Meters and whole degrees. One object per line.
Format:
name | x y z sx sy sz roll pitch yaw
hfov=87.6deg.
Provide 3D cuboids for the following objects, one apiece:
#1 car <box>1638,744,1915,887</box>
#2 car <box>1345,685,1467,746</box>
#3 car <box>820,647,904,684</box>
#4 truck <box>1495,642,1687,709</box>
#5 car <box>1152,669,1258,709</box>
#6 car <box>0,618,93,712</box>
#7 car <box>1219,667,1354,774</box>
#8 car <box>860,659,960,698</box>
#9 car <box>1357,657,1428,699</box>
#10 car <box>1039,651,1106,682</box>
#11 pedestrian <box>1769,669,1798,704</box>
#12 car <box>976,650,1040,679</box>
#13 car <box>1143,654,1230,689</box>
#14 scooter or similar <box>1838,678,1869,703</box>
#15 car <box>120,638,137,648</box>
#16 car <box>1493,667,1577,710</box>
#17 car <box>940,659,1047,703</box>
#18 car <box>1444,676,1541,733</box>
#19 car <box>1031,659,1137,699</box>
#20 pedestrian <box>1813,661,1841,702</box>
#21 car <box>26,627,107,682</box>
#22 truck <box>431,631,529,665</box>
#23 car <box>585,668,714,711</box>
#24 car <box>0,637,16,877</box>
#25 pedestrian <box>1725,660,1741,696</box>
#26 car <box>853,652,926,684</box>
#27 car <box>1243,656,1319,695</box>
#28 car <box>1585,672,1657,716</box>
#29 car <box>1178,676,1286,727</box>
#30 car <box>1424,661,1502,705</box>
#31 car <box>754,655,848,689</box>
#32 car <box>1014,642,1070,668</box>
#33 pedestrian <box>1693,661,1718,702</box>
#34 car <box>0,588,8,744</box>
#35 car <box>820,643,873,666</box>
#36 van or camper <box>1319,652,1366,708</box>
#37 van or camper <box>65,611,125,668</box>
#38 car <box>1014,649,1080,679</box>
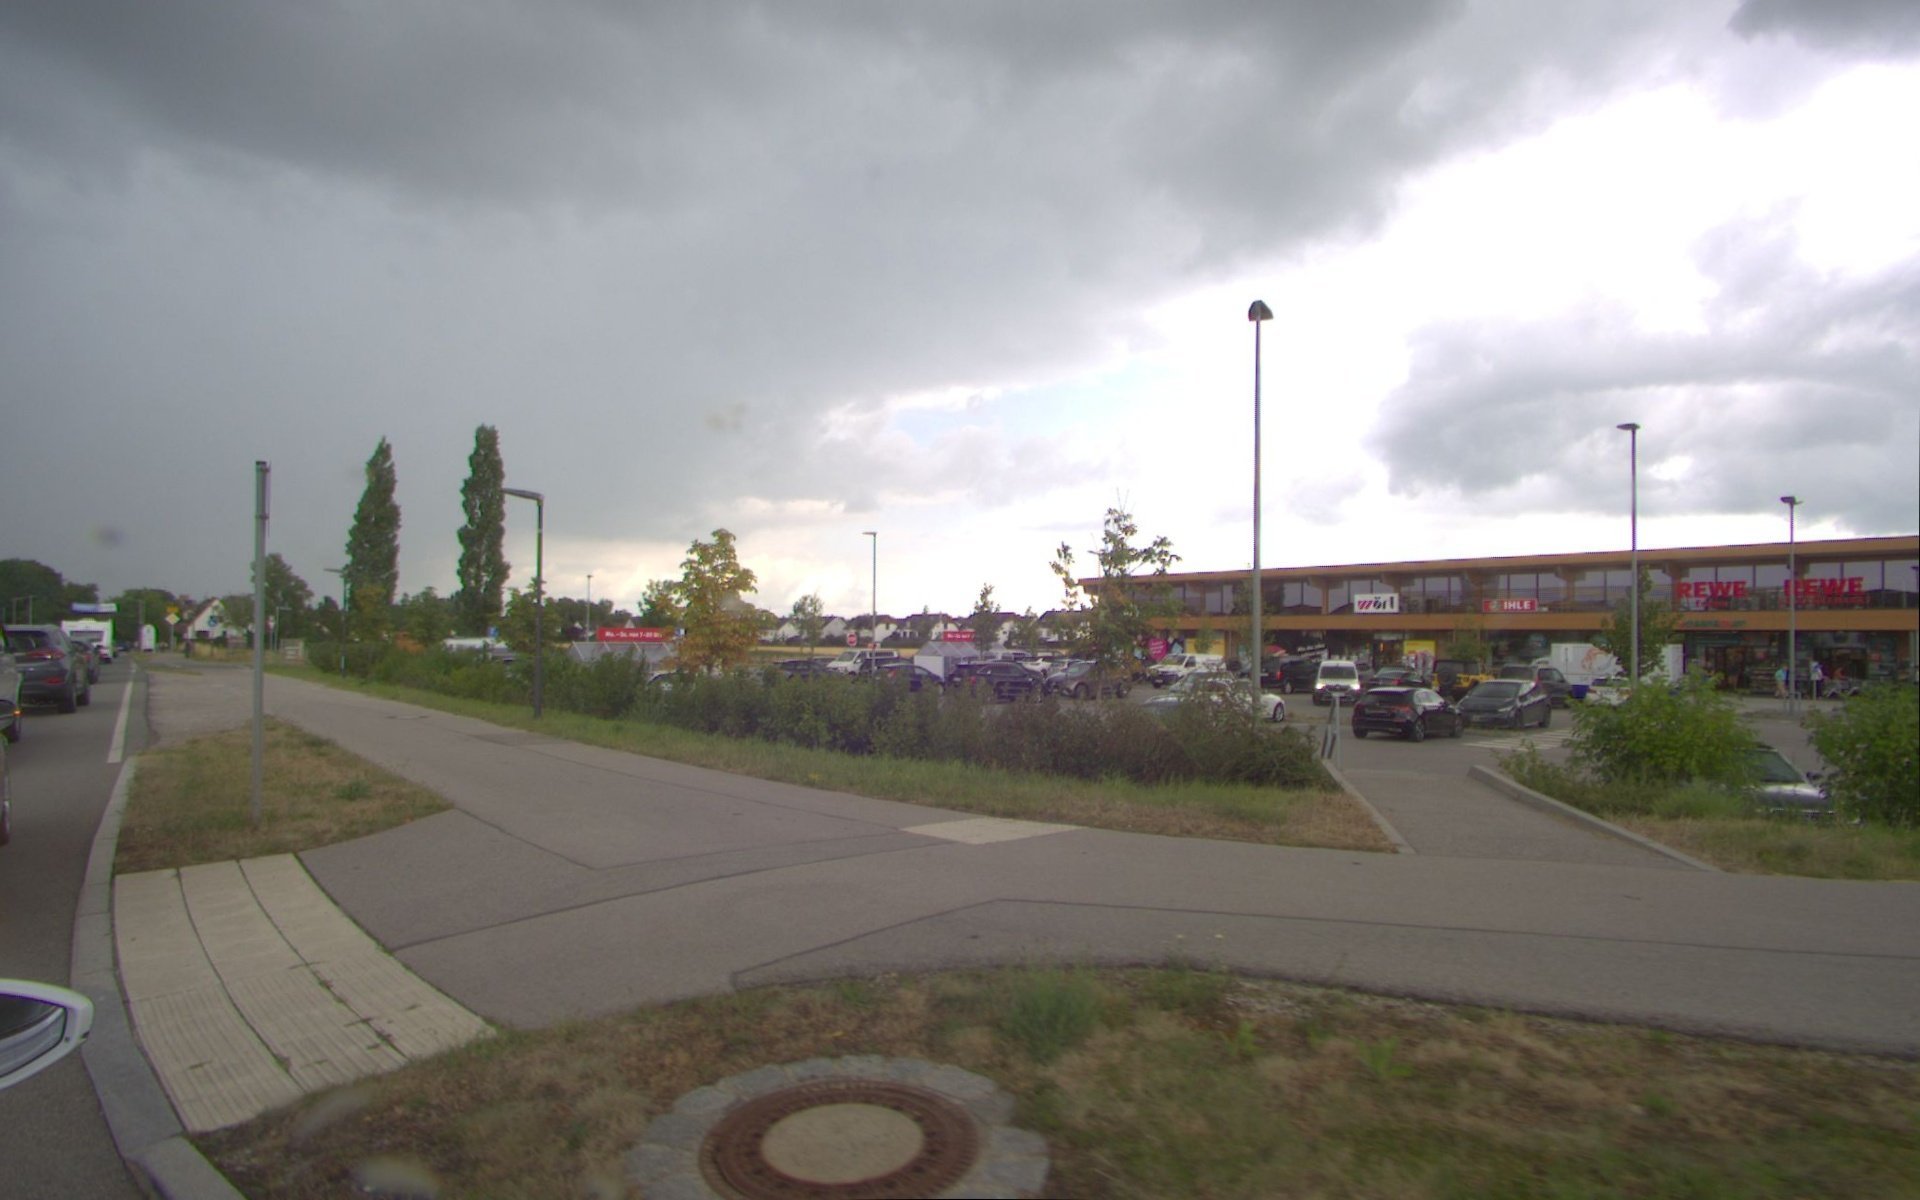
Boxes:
car | 11.404 2.939 14.324 1.551 1.389 3.733 0 -3 13
car | 12.514 3.161 27.997 3.963 1.415 1.818 3 -3 -45
car | -5.773 3.853 59.675 1.976 2.039 5.088 0 -1 40
truck | 29.526 3.443 47.062 2.949 2.842 7.187 3 -3 -44
car | 10.232 3.657 41.578 4.738 1.503 1.888 3 -3 -41
car | -17.711 1.189 19.003 1.763 1.638 3.968 2 -3 -39
car | 4.533 1.623 14.071 1.550 1.221 3.755 1 -4 17
car | -2.294 3.590 46.587 4.370 1.685 1.984 3 -3 -40
car | 20.630 3.680 47.667 3.963 1.878 1.755 3 -3 -45
car | 7.078 4.167 63.027 3.954 1.860 1.986 3 -4 -37
pedestrian | 39.913 4.193 48.554 0.736 1.678 0.805 1 -2 -10
car | 3.245 4.308 67.167 3.952 1.861 1.986 2 -3 -37
car | 12.612 3.955 55.573 5.247 1.853 1.984 3 -4 -40
scooter or similar | 43.023 4.362 48.241 0.989 1.140 0.790 0 -4 34
car | -104.612 5.433 126.002 1.601 1.288 3.434 2 -3 -39
car | 24.366 3.701 42.370 4.078 1.746 1.837 3 -5 -41
car | 1.427 3.361 41.772 4.418 1.727 1.789 4 -4 -40
car | 17.064 3.286 32.031 1.714 1.572 3.965 -1 -3 44
car | 5.683 3.556 45.531 4.937 1.685 1.983 3 -3 -40
pedestrian | 42.261 3.984 48.800 0.916 1.921 0.790 0 -4 34
car | -28.401 1.704 31.934 1.763 1.638 3.968 1 -3 -40
truck | -27.970 2.828 58.396 4.768 1.895 1.981 4 -4 -44
car | -11.593 3.313 37.515 4.200 1.458 1.984 3 -3 -40
car | -6.213 0.912 5.197 1.771 1.409 4.096 1 -2 -42
pedestrian | 42.839 4.316 55.472 0.569 1.973 0.524 0 -2 23
car | -3.986 3.871 56.935 3.958 1.727 1.702 3 -4 -40
car | 16.630 3.910 51.818 3.960 1.859 1.984 6 -5 -40
car | 26.558 3.732 40.199 1.714 1.549 3.965 -1 -3 44
car | 8.973 3.278 32.852 3.960 1.503 1.666 4 -4 -44
car | 22.730 3.705 45.172 3.958 1.877 1.758 3 -4 -40
car | -8.361 3.771 52.868 4.522 1.685 1.984 3 -3 -40
car | 6.090 4.072 74.179 3.951 1.863 1.862 2 -3 -36
pedestrian | 37.764 4.124 50.711 0.922 2.039 0.799 -1 -2 42
car | -12.266 0.806 11.438 1.854 1.958 3.964 2 -3 -42
car | -9.488 4.546 83.747 3.952 1.861 1.986 2 -3 -36
van or camper | 15.888 3.258 41.710 1.734 2.124 4.798 0 -2 20
van or camper | -53.613 2.527 62.170 2.605 3.364 6.766 2 -4 -40
car | 5.629 4.111 64.916 3.952 1.861 1.986 2 -3 -36
